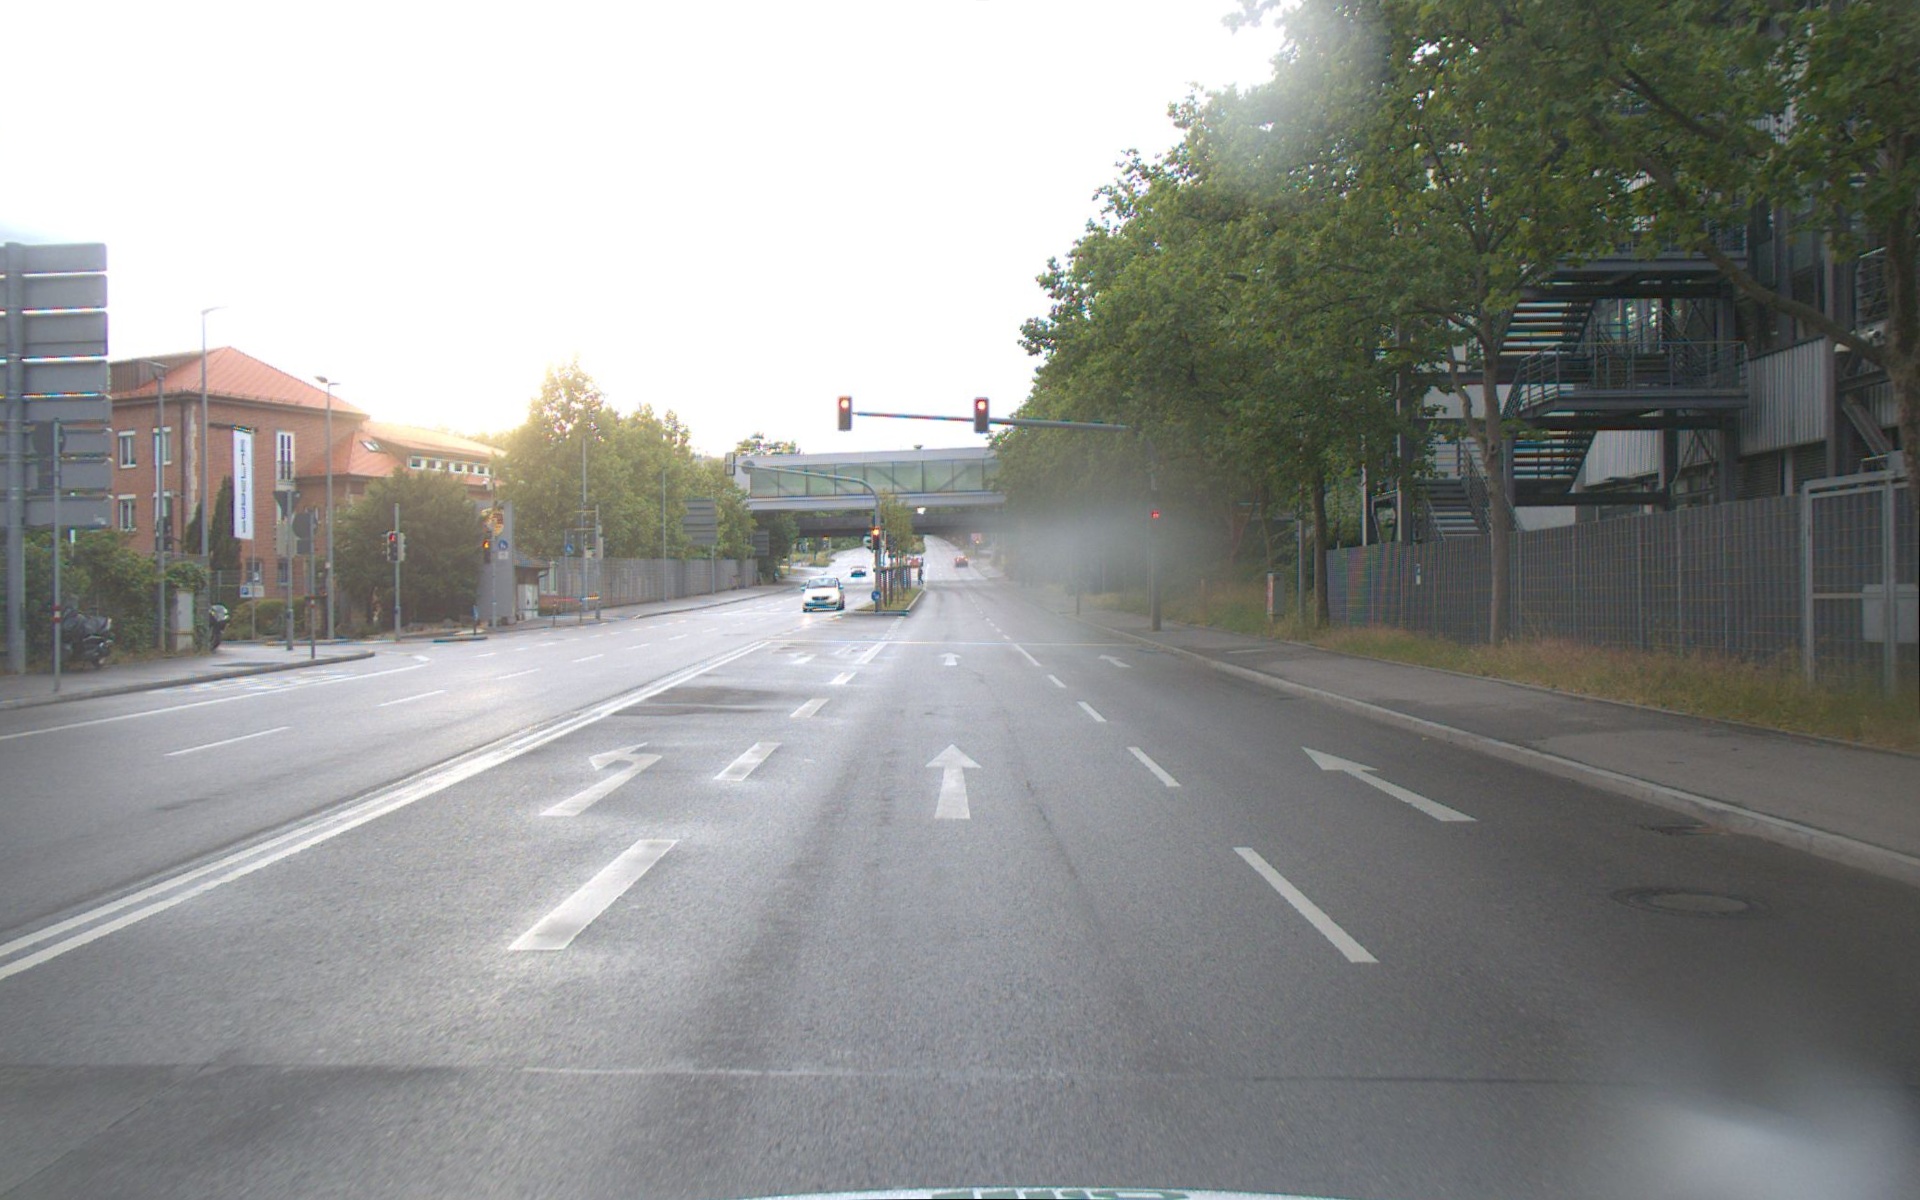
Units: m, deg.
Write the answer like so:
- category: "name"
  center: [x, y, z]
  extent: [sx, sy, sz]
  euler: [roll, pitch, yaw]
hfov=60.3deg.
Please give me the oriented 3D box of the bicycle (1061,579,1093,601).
- category: "bicycle"
  center: [7.447, -0.655, 105.359]
  extent: [1.949, 1.352, 0.576]
  euler: [2, -1, 0]

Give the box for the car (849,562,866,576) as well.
- category: "car"
  center: [-12.579, -3.864, 203.914]
  extent: [1.839, 1.652, 3.779]
  euler: [-1, 1, 0]

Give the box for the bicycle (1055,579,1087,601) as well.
- category: "bicycle"
  center: [7.125, -0.649, 106.070]
  extent: [1.949, 1.352, 0.576]
  euler: [2, -1, 0]

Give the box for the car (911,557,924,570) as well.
- category: "car"
  center: [-6.360, -5.478, 248.655]
  extent: [1.846, 1.792, 3.969]
  euler: [1, 0, 0]

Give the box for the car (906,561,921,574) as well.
- category: "car"
  center: [-6.868, -4.822, 243.646]
  extent: [1.953, 1.792, 4.000]
  euler: [1, 0, 0]

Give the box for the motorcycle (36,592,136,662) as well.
- category: "motorcycle"
  center: [-16.492, 0.485, 31.279]
  extent: [0.769, 1.269, 2.157]
  euler: [-1, 0, -1]

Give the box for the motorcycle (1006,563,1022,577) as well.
- category: "motorcycle"
  center: [5.294, -2.938, 162.423]
  extent: [0.778, 1.334, 2.364]
  euler: [-2, 1, -18]

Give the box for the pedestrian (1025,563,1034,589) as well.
- category: "pedestrian"
  center: [5.514, -1.925, 131.215]
  extent: [0.609, 2.049, 0.605]
  euler: [-2, 0, 0]

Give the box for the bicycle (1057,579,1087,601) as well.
- category: "bicycle"
  center: [7.263, -0.653, 107.307]
  extent: [1.920, 1.352, 0.576]
  euler: [2, -1, 0]

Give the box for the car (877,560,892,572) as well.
- category: "car"
  center: [-10.440, -4.653, 227.691]
  extent: [1.839, 1.652, 3.779]
  euler: [-1, 1, 0]

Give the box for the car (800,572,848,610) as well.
- category: "car"
  center: [-6.296, -0.432, 76.851]
  extent: [1.839, 1.652, 3.779]
  euler: [-1, 1, 0]

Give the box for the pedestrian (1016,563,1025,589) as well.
- category: "pedestrian"
  center: [4.822, -1.908, 131.536]
  extent: [0.609, 2.049, 0.605]
  euler: [-2, 0, 0]

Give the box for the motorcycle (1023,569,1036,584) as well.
- category: "motorcycle"
  center: [6.632, -2.250, 157.376]
  extent: [0.775, 1.334, 2.372]
  euler: [-2, 1, -8]

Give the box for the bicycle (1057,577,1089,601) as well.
- category: "bicycle"
  center: [7.152, -0.719, 104.505]
  extent: [1.949, 1.455, 0.723]
  euler: [1, -1, 0]

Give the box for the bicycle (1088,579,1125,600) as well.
- category: "bicycle"
  center: [8.045, -0.579, 90.803]
  extent: [1.949, 1.114, 0.541]
  euler: [2, -1, 0]

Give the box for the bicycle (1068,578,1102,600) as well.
- category: "bicycle"
  center: [7.362, -0.644, 97.790]
  extent: [1.949, 1.263, 0.541]
  euler: [2, -1, 0]

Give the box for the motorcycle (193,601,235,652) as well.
- category: "motorcycle"
  center: [-19.259, 0.669, 42.675]
  extent: [0.762, 1.239, 2.485]
  euler: [-1, 1, -29]

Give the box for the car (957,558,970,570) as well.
- category: "car"
  center: [0.482, -5.240, 240.024]
  extent: [1.837, 1.523, 4.068]
  euler: [1, 0, 0]

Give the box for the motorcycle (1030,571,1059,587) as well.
- category: "motorcycle"
  center: [7.052, -1.774, 138.488]
  extent: [2.318, 1.223, 0.723]
  euler: [-2, 0, 8]

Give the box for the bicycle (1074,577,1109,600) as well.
- category: "bicycle"
  center: [7.377, -0.651, 92.831]
  extent: [1.949, 1.237, 0.541]
  euler: [2, -1, 0]

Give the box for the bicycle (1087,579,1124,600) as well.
- category: "bicycle"
  center: [8.045, -0.577, 91.372]
  extent: [1.949, 1.114, 0.541]
  euler: [2, -1, 0]

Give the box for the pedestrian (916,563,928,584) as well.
- category: "pedestrian"
  center: [-3.636, -2.517, 157.458]
  extent: [0.853, 2.039, 0.855]
  euler: [-1, 0, 17]
